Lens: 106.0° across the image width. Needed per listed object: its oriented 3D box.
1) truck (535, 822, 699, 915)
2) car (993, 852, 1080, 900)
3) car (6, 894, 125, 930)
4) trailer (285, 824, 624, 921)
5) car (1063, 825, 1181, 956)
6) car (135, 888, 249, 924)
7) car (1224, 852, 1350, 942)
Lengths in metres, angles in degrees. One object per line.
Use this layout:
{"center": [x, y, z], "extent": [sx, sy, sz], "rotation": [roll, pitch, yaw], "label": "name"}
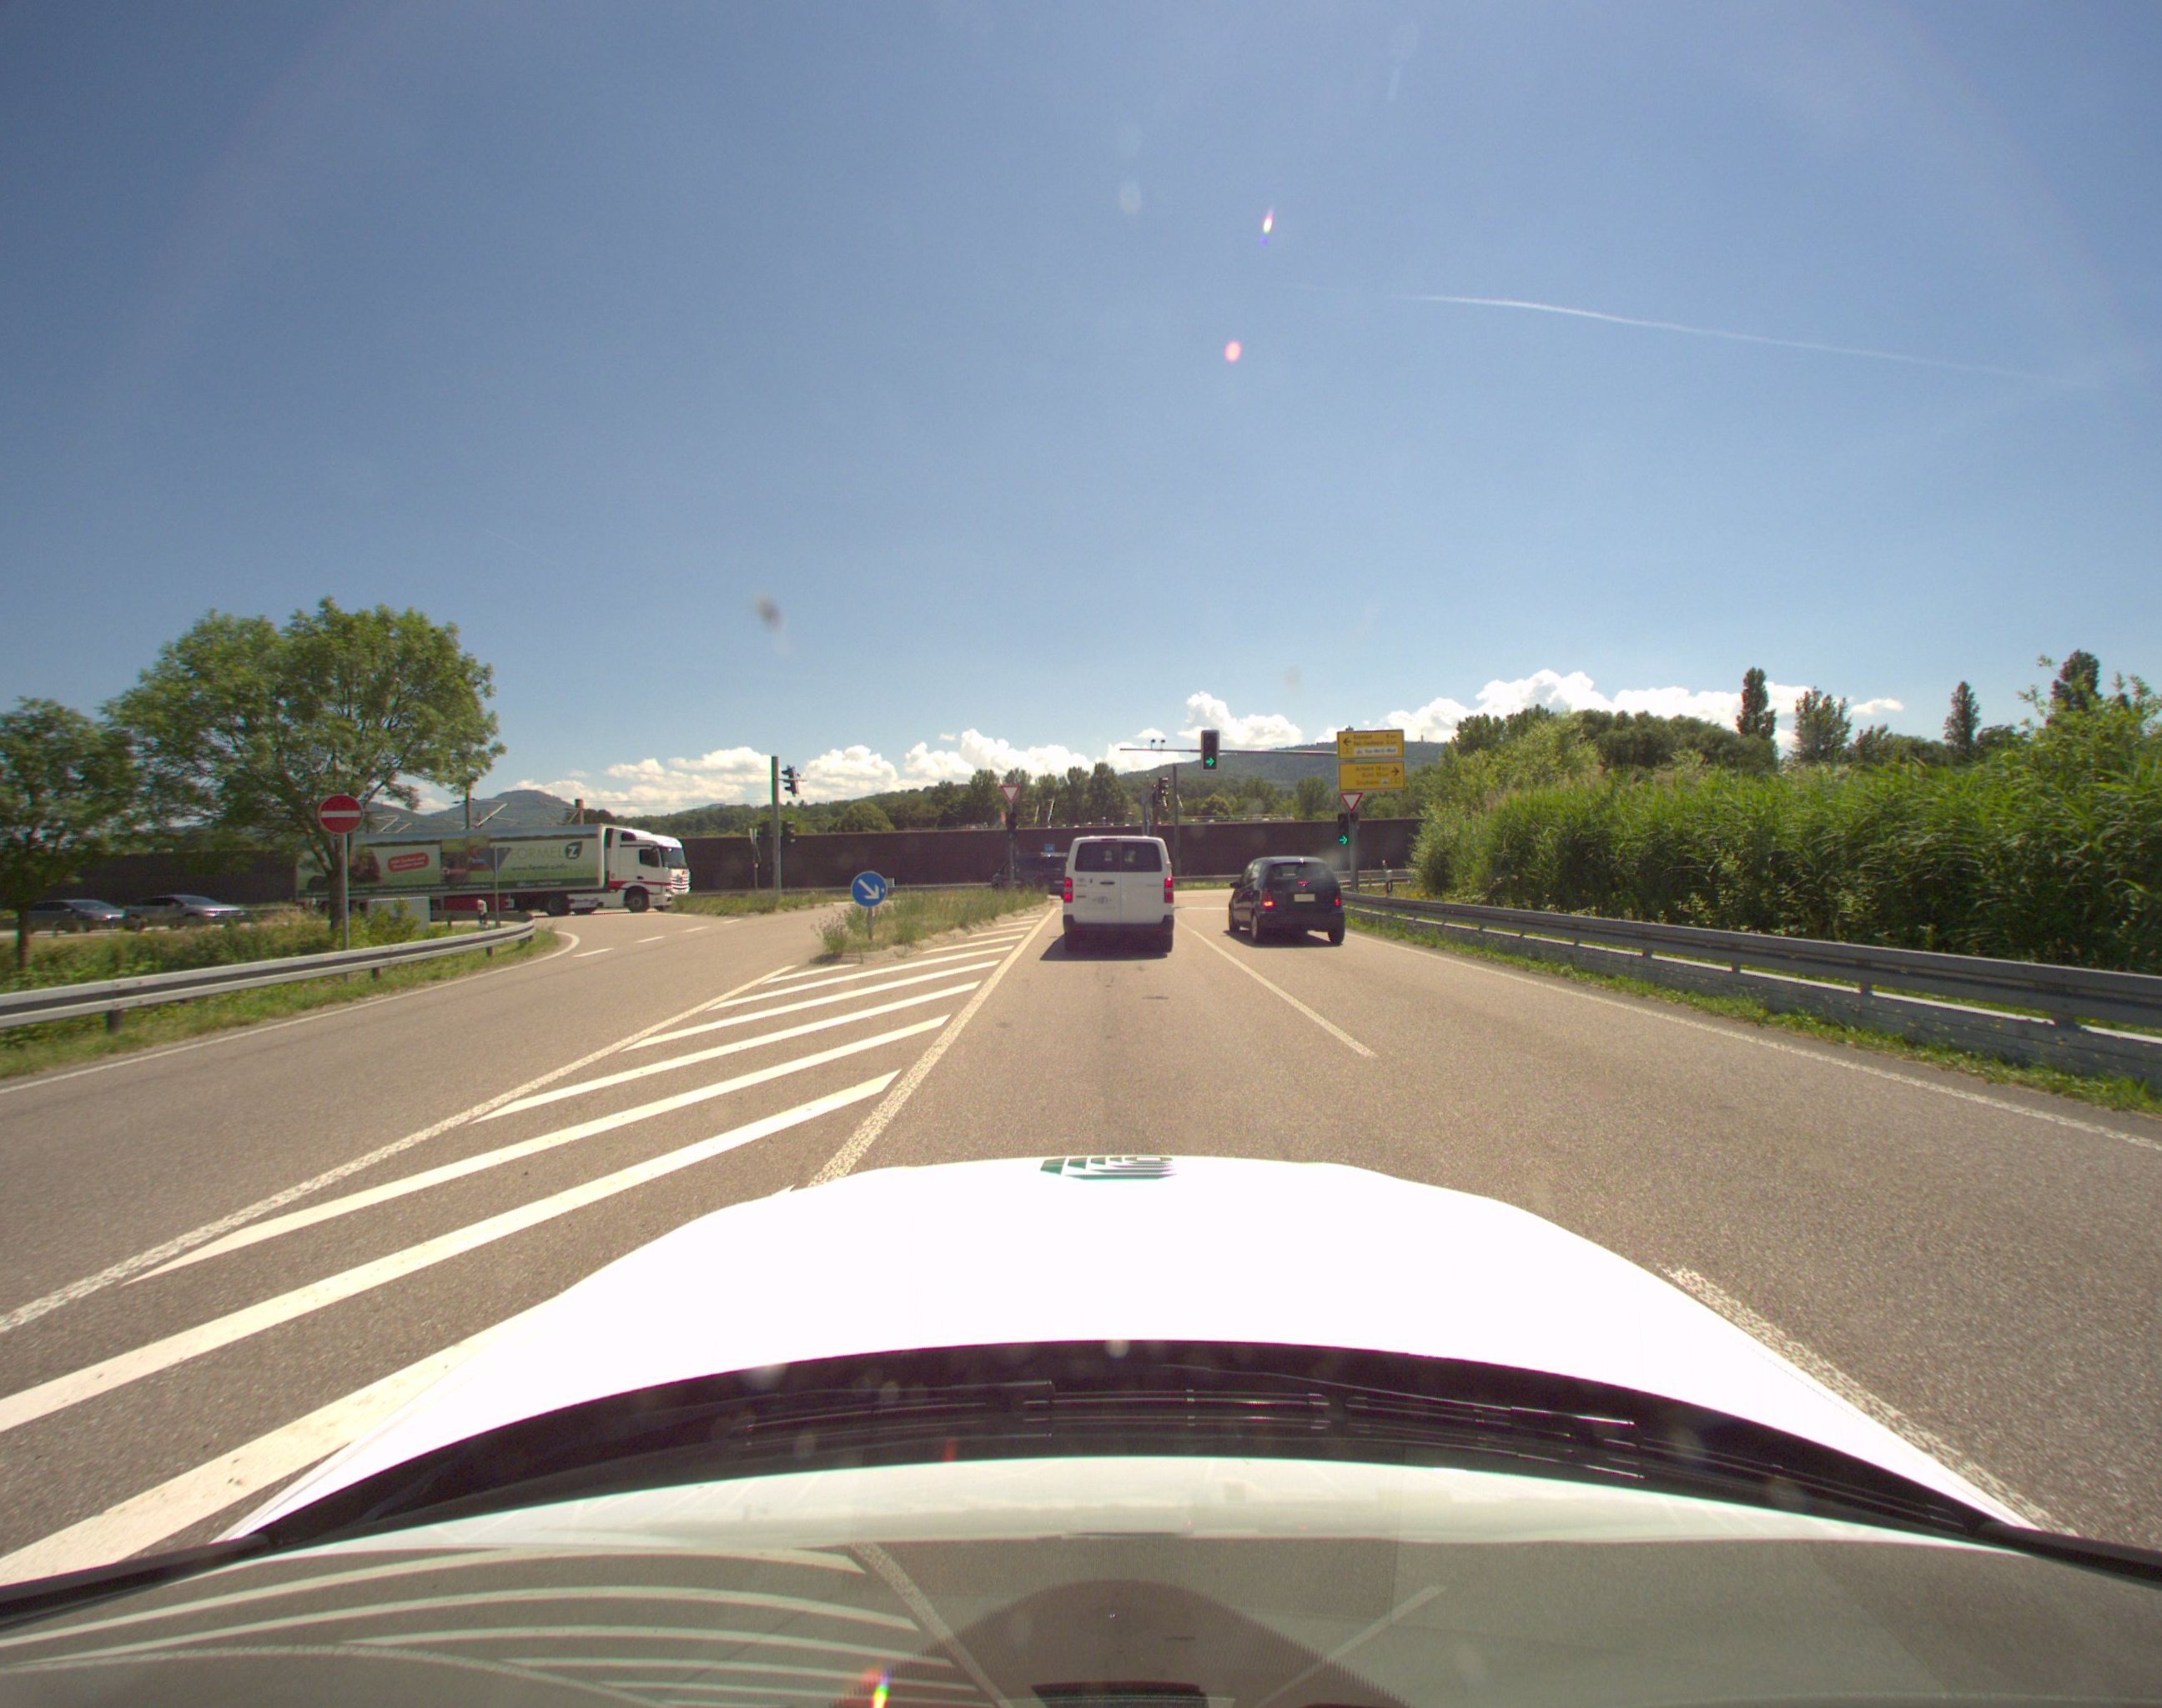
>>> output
{"center": [-21.245, 0.654, 37.555], "extent": [5.747, 3.954, 3.061], "rotation": [-1, -1, 0], "label": "truck"}
{"center": [-2.116, 0.983, 36.944], "extent": [2.006, 2.014, 4.666], "rotation": [-1, -1, -31], "label": "car"}
{"center": [-46.504, 2.659, 37.338], "extent": [3.462, 1.464, 1.554], "rotation": [-1, -1, 0], "label": "car"}
{"center": [-28.502, 0.818, 37.480], "extent": [13.099, 3.954, 3.061], "rotation": [-1, -1, -1], "label": "trailer"}
{"center": [0.700, 0.596, 14.831], "extent": [1.808, 2.017, 4.001], "rotation": [-1, -1, 1], "label": "car"}
{"center": [-40.677, 2.376, 37.303], "extent": [3.462, 1.464, 1.554], "rotation": [-1, -1, 0], "label": "car"}
{"center": [3.985, 0.776, 16.299], "extent": [1.662, 1.600, 3.554], "rotation": [0, 0, 1], "label": "car"}
